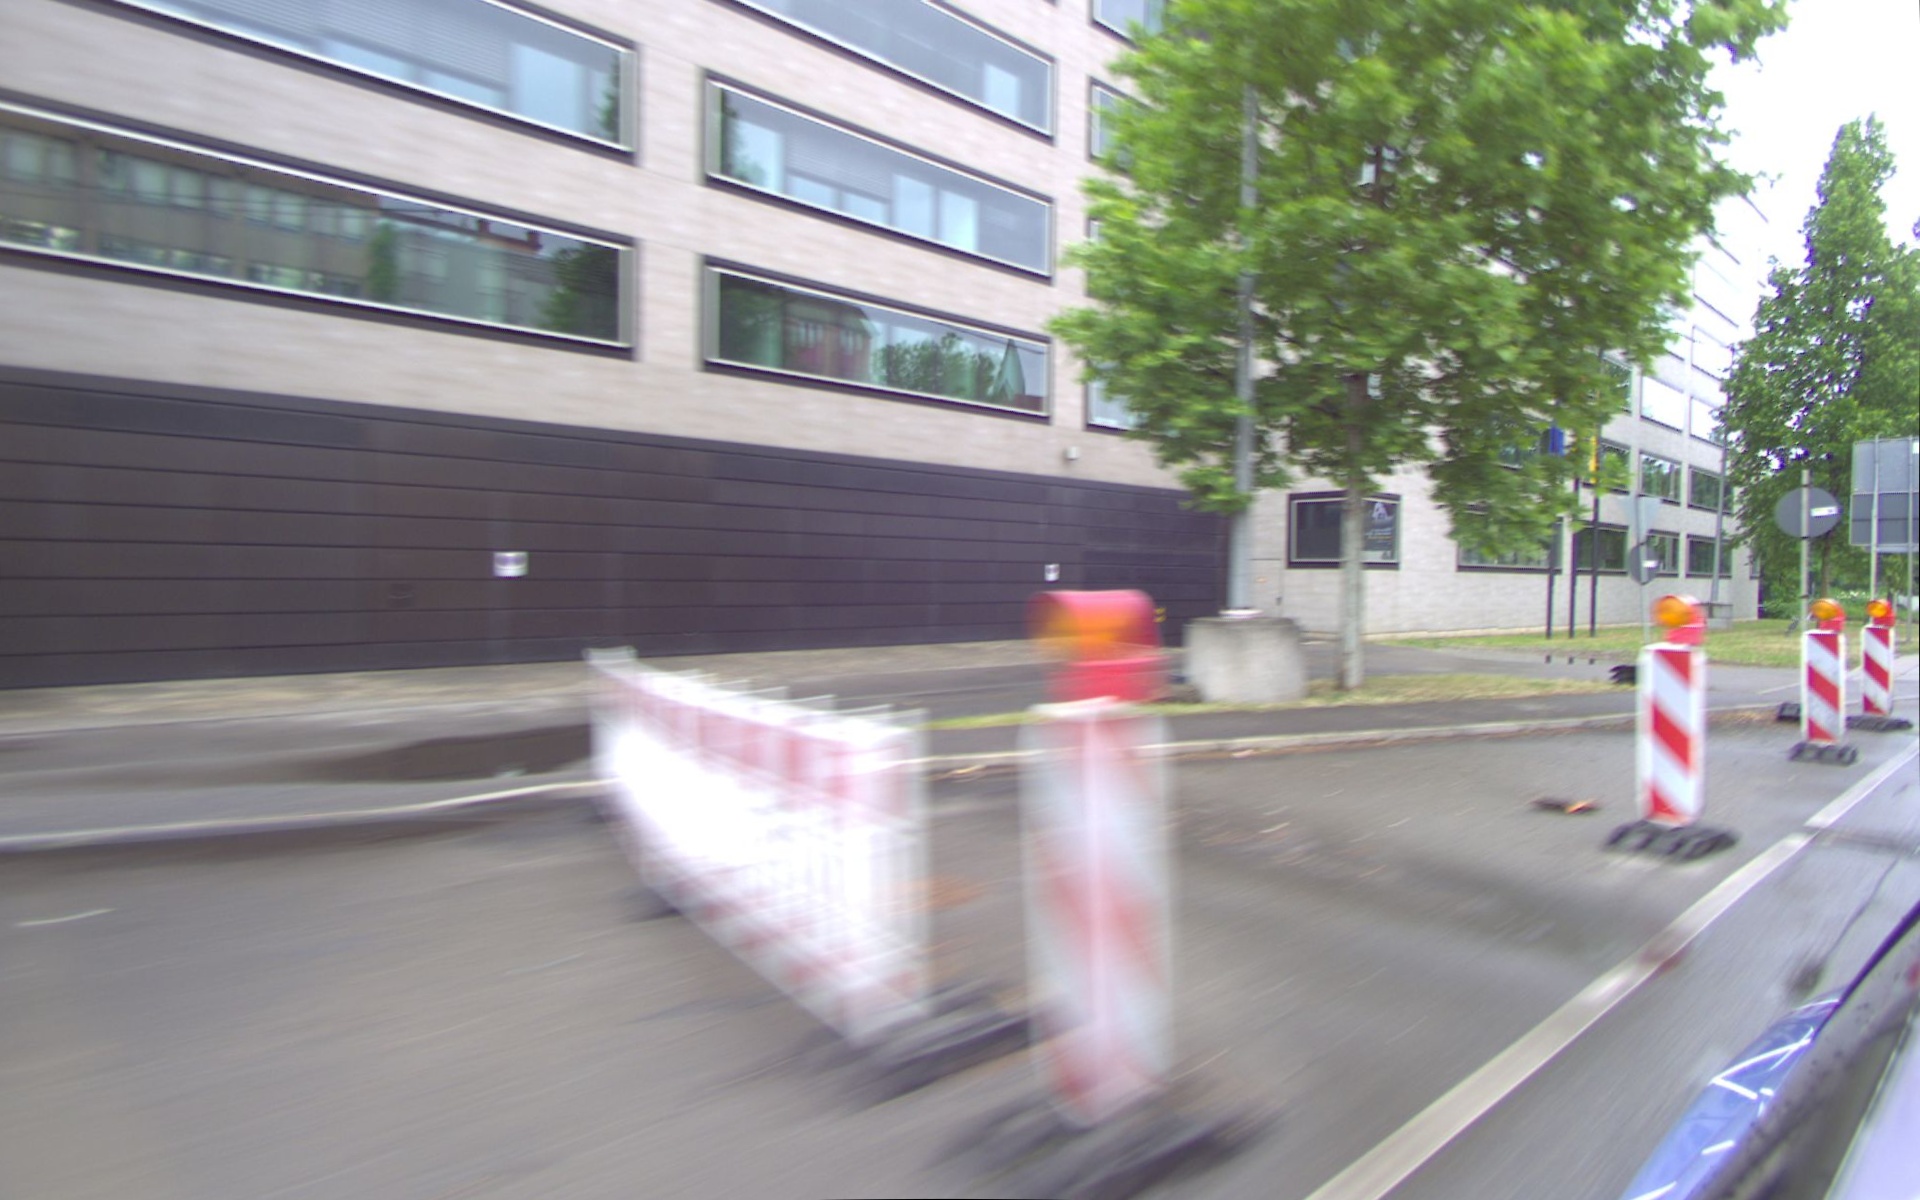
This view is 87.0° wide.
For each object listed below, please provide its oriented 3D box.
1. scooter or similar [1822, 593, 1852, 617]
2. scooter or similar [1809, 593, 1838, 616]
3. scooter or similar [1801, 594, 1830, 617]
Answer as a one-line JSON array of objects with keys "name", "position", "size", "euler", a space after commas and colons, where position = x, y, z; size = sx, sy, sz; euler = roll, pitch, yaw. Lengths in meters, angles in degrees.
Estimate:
[{"name": "scooter or similar", "position": [51.953, 0.279, 59.952], "size": [0.545, 1.328, 1.239], "euler": [0, 2, -44]}, {"name": "scooter or similar", "position": [51.880, 0.265, 60.810], "size": [0.464, 1.328, 1.239], "euler": [0, 2, -43]}, {"name": "scooter or similar", "position": [51.971, 0.309, 61.484], "size": [0.464, 1.328, 1.239], "euler": [0, 2, -43]}]
